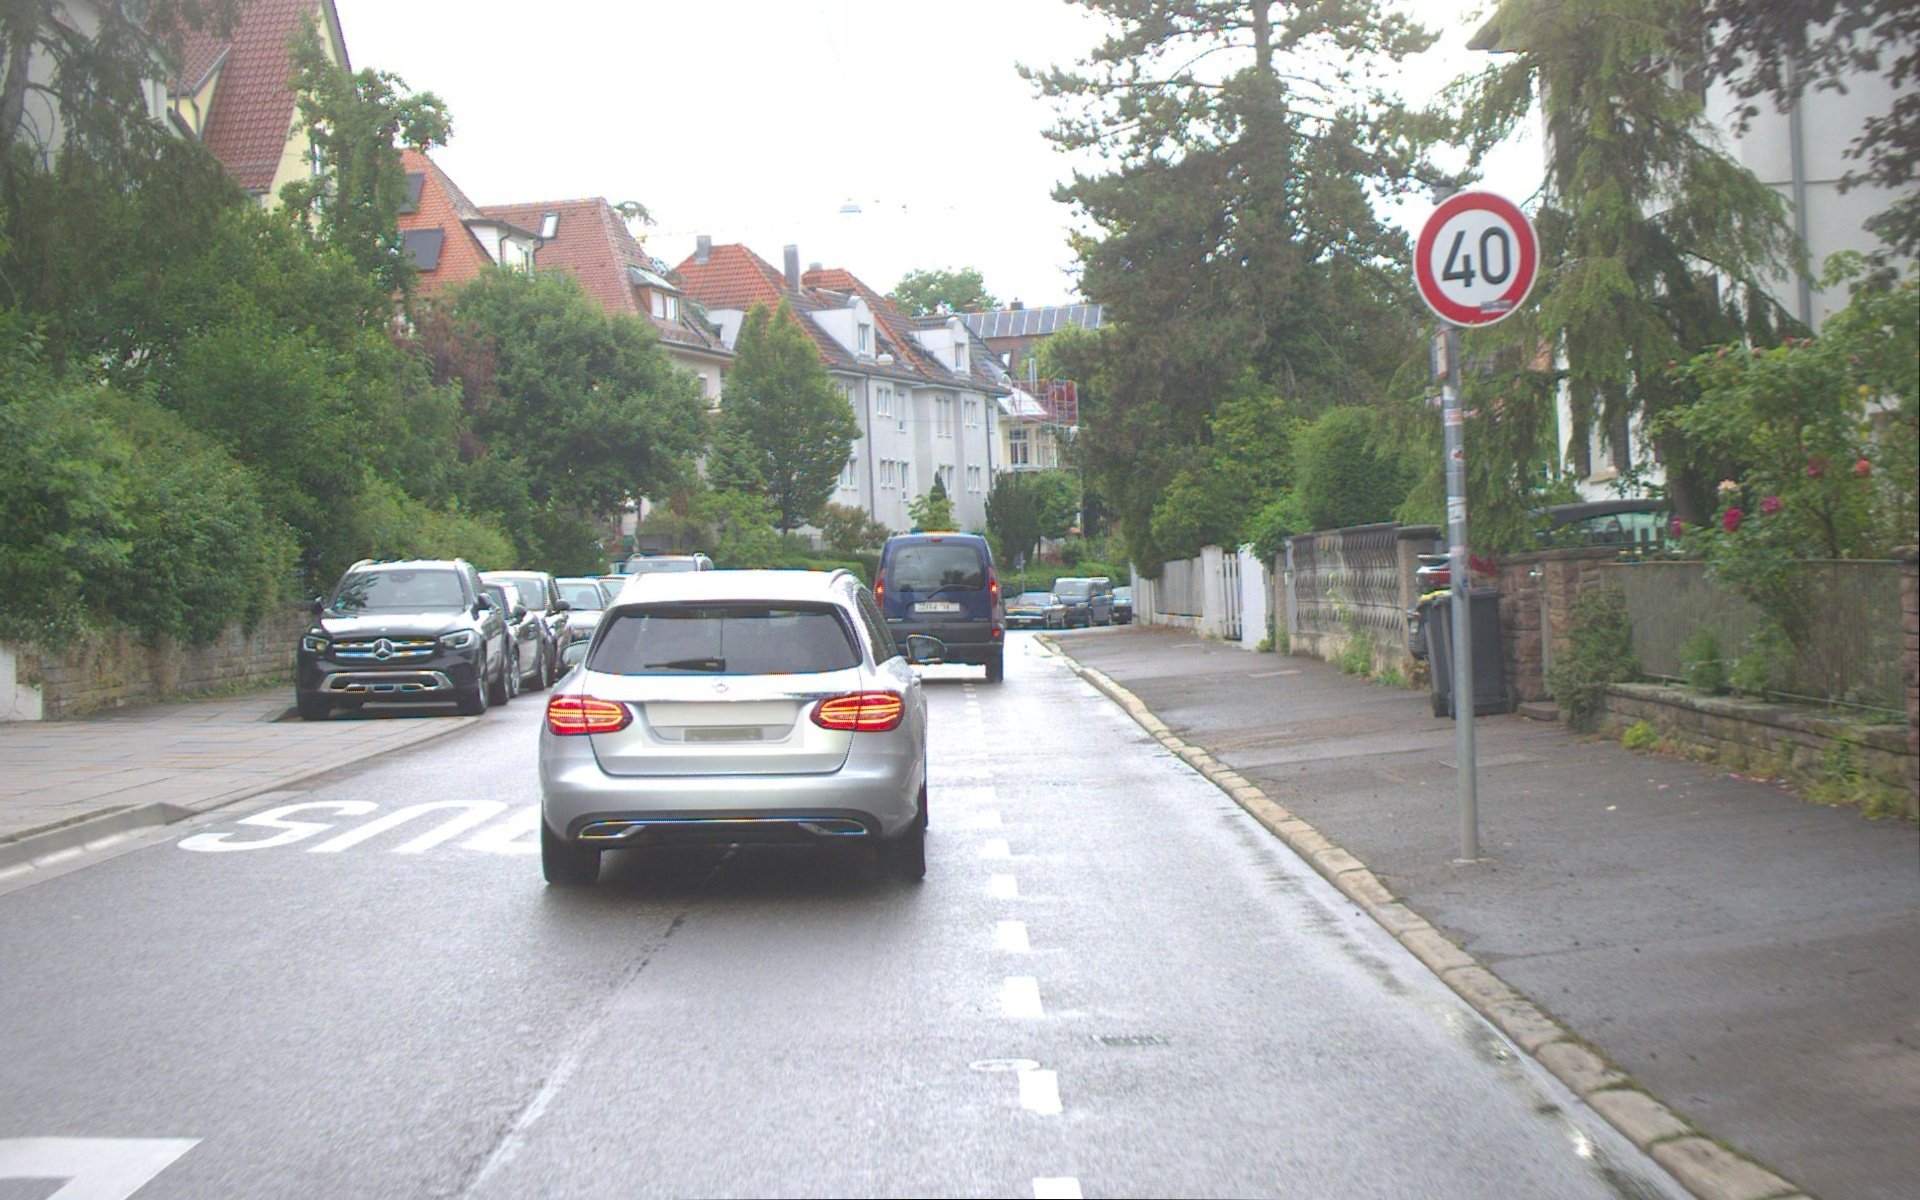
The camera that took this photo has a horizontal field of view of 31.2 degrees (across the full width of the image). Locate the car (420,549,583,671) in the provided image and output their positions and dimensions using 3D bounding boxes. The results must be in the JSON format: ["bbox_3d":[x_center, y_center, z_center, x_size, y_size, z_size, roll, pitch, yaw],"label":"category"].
[{"bbox_3d":[-6.086,0.104,45.935,1.696,1.536,3.814,-1,1,-1],"label":"car"}]

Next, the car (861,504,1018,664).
[{"bbox_3d":[-0.296,-0.189,42.986,1.843,1.897,4.000,-1,0,-1],"label":"car"}]

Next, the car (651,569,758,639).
[{"bbox_3d":[-6.138,0.077,83.032,1.994,1.575,4.761,1,1,2],"label":"car"}]

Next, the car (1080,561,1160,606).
[{"bbox_3d":[6.775,-0.718,144.965,1.995,1.682,4.672,0,3,21],"label":"car"}]

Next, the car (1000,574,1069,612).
[{"bbox_3d":[2.910,-0.298,133.206,1.644,1.412,4.610,-1,1,14],"label":"car"}]

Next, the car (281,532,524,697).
[{"bbox_3d":[-5.831,0.112,36.444,1.893,1.617,4.379,-1,1,-1],"label":"car"}]

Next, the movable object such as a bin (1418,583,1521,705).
[{"bbox_3d":[3.709,0.315,25.067,0.651,0.852,0.503,-1,2,-2],"label":"movable object such as a bin"}]

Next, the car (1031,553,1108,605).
[{"bbox_3d":[4.412,-0.848,138.265,1.831,2.049,5.005,0,0,17],"label":"car"}]

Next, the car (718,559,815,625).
[{"bbox_3d":[-5.246,-0.238,93.706,1.994,1.696,4.738,1,1,4],"label":"car"}]

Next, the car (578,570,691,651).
[{"bbox_3d":[-6.060,0.176,64.297,1.694,1.442,3.814,-1,0,0],"label":"car"}]

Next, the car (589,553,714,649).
[{"bbox_3d":[-6.274,-0.016,70.437,1.993,1.872,5.356,0,1,1],"label":"car"}]

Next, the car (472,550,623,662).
[{"bbox_3d":[-6.085,0.058,51.143,1.756,1.442,4.417,-1,2,-1],"label":"car"}]

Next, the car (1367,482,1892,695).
[{"bbox_3d":[5.525,-0.127,28.741,3.987,1.634,1.919,-1,2,0],"label":"car"}]

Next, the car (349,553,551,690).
[{"bbox_3d":[-6.106,0.220,41.509,1.893,1.442,3.814,-1,2,-1],"label":"car"}]

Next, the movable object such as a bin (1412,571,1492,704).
[{"bbox_3d":[3.662,0.274,25.612,0.494,0.952,0.503,-1,2,-2],"label":"movable object such as a bin"}]

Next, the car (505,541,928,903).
[{"bbox_3d":[-1.151,0.500,16.911,1.816,1.551,4.001,-1,1,-3],"label":"car"}]
